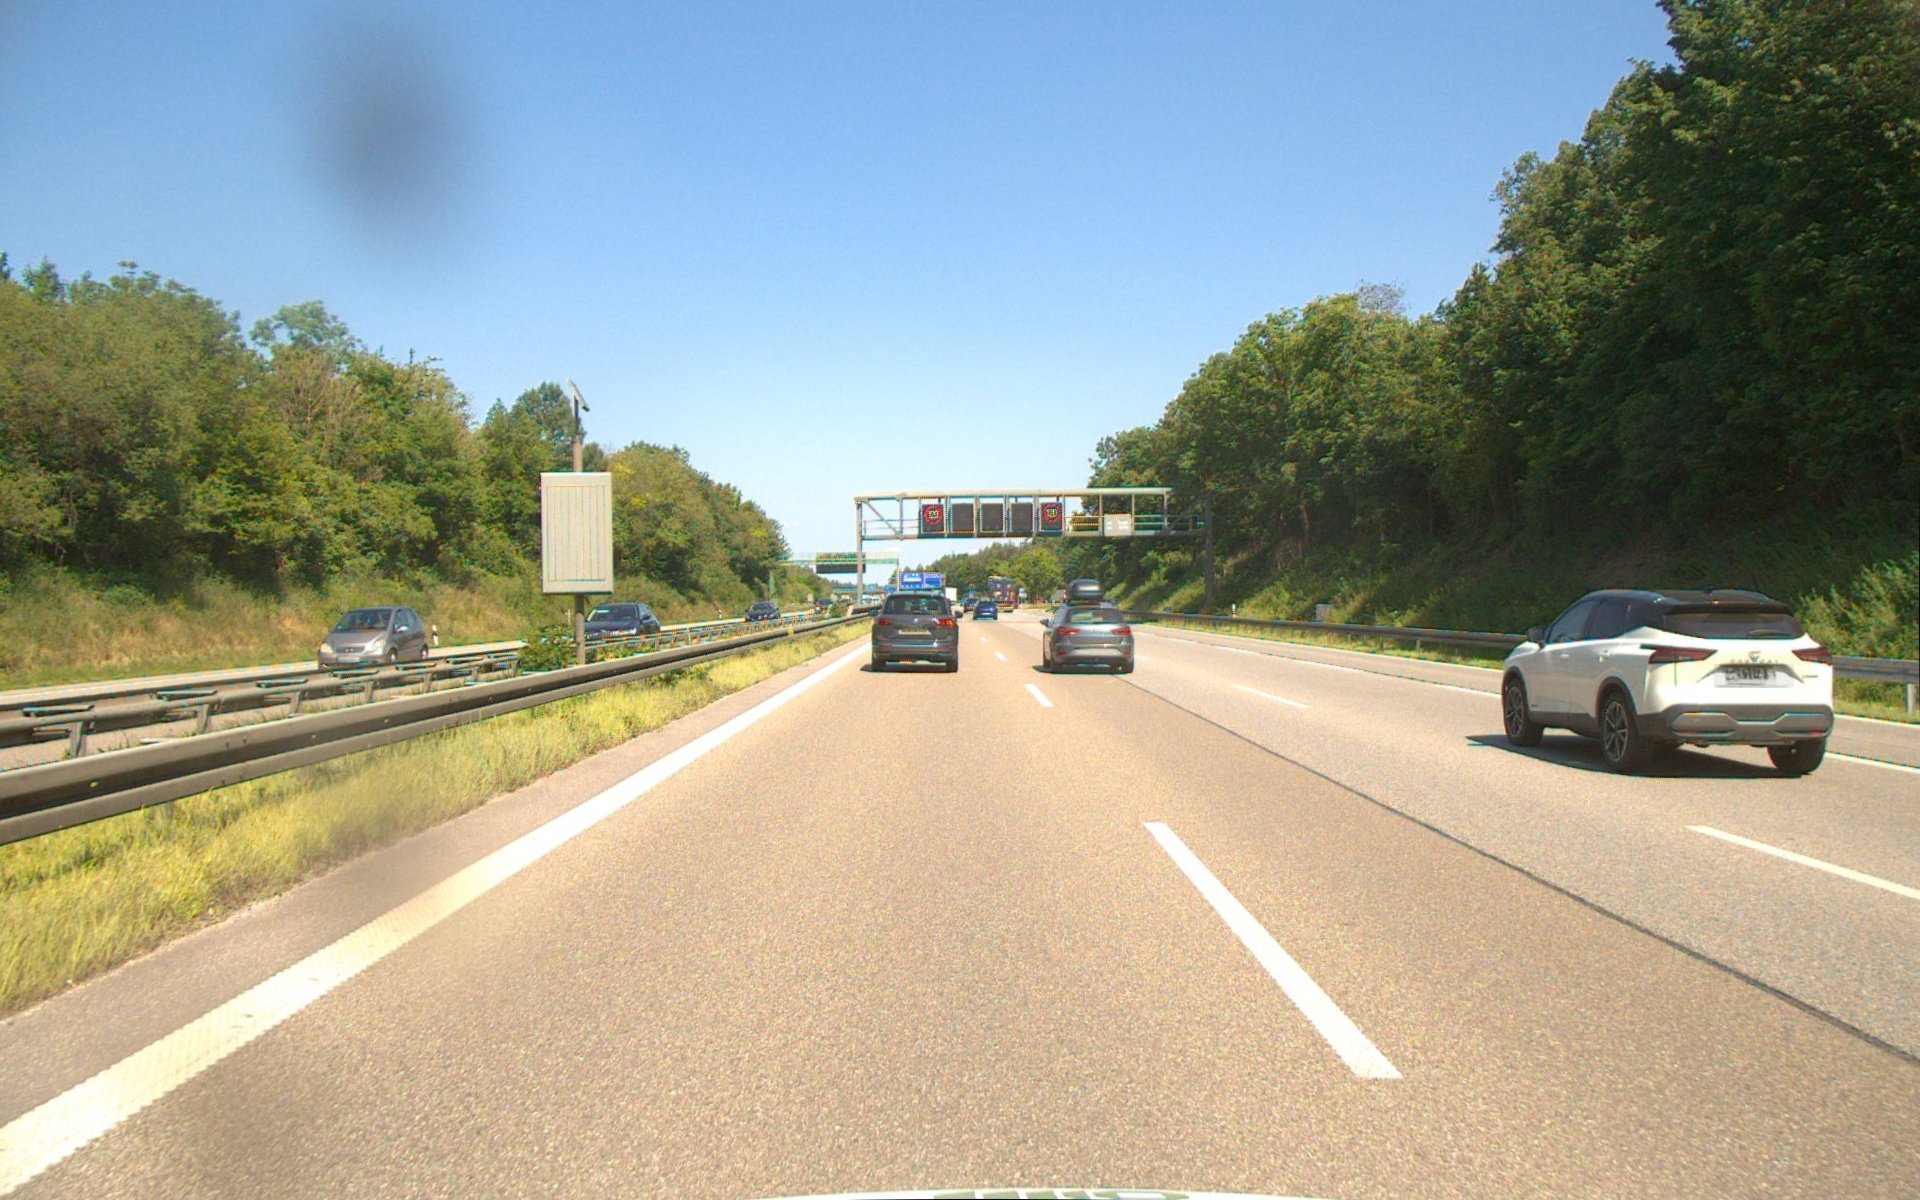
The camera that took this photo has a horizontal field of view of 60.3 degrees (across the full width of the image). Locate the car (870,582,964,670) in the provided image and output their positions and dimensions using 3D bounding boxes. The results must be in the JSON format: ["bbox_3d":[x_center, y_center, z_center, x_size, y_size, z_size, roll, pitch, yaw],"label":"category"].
[{"bbox_3d":[-0.854,0.506,34.880,1.762,1.698,4.259,1,0,1],"label":"car"}]

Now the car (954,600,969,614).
[{"bbox_3d":[0.172,0.722,171.334,1.441,1.422,3.409,2,0,-2],"label":"car"}]

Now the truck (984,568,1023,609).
[{"bbox_3d":[4.938,-1.265,191.185,3.704,4.499,14.045,0,0,-2],"label":"truck"}]

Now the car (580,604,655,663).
[{"bbox_3d":[-9.498,0.901,46.083,1.404,1.555,3.457,-1,0,-1],"label":"car"}]

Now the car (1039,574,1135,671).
[{"bbox_3d":[2.657,0.442,35.496,1.631,1.909,4.827,-1,0,0],"label":"car"}]

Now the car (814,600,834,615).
[{"bbox_3d":[-12.046,0.656,146.733,1.449,1.231,3.457,-1,0,-1],"label":"car"}]

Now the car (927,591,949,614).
[{"bbox_3d":[-2.057,0.240,151.472,1.953,2.049,3.999,1,0,-1],"label":"car"}]

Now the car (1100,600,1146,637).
[{"bbox_3d":[7.406,0.829,75.311,1.728,1.595,4.259,1,0,1],"label":"car"}]

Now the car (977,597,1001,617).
[{"bbox_3d":[2.100,0.511,120.408,1.728,1.406,4.259,1,0,1],"label":"car"}]

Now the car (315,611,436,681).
[{"bbox_3d":[-13.875,1.060,39.426,1.641,1.522,3.544,-1,0,-1],"label":"car"}]

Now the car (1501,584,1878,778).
[{"bbox_3d":[6.785,0.670,15.902,1.806,1.595,4.035,1,0,-1],"label":"car"}]

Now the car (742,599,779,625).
[{"bbox_3d":[-11.382,0.691,94.644,1.678,1.422,4.149,-1,0,-1],"label":"car"}]
